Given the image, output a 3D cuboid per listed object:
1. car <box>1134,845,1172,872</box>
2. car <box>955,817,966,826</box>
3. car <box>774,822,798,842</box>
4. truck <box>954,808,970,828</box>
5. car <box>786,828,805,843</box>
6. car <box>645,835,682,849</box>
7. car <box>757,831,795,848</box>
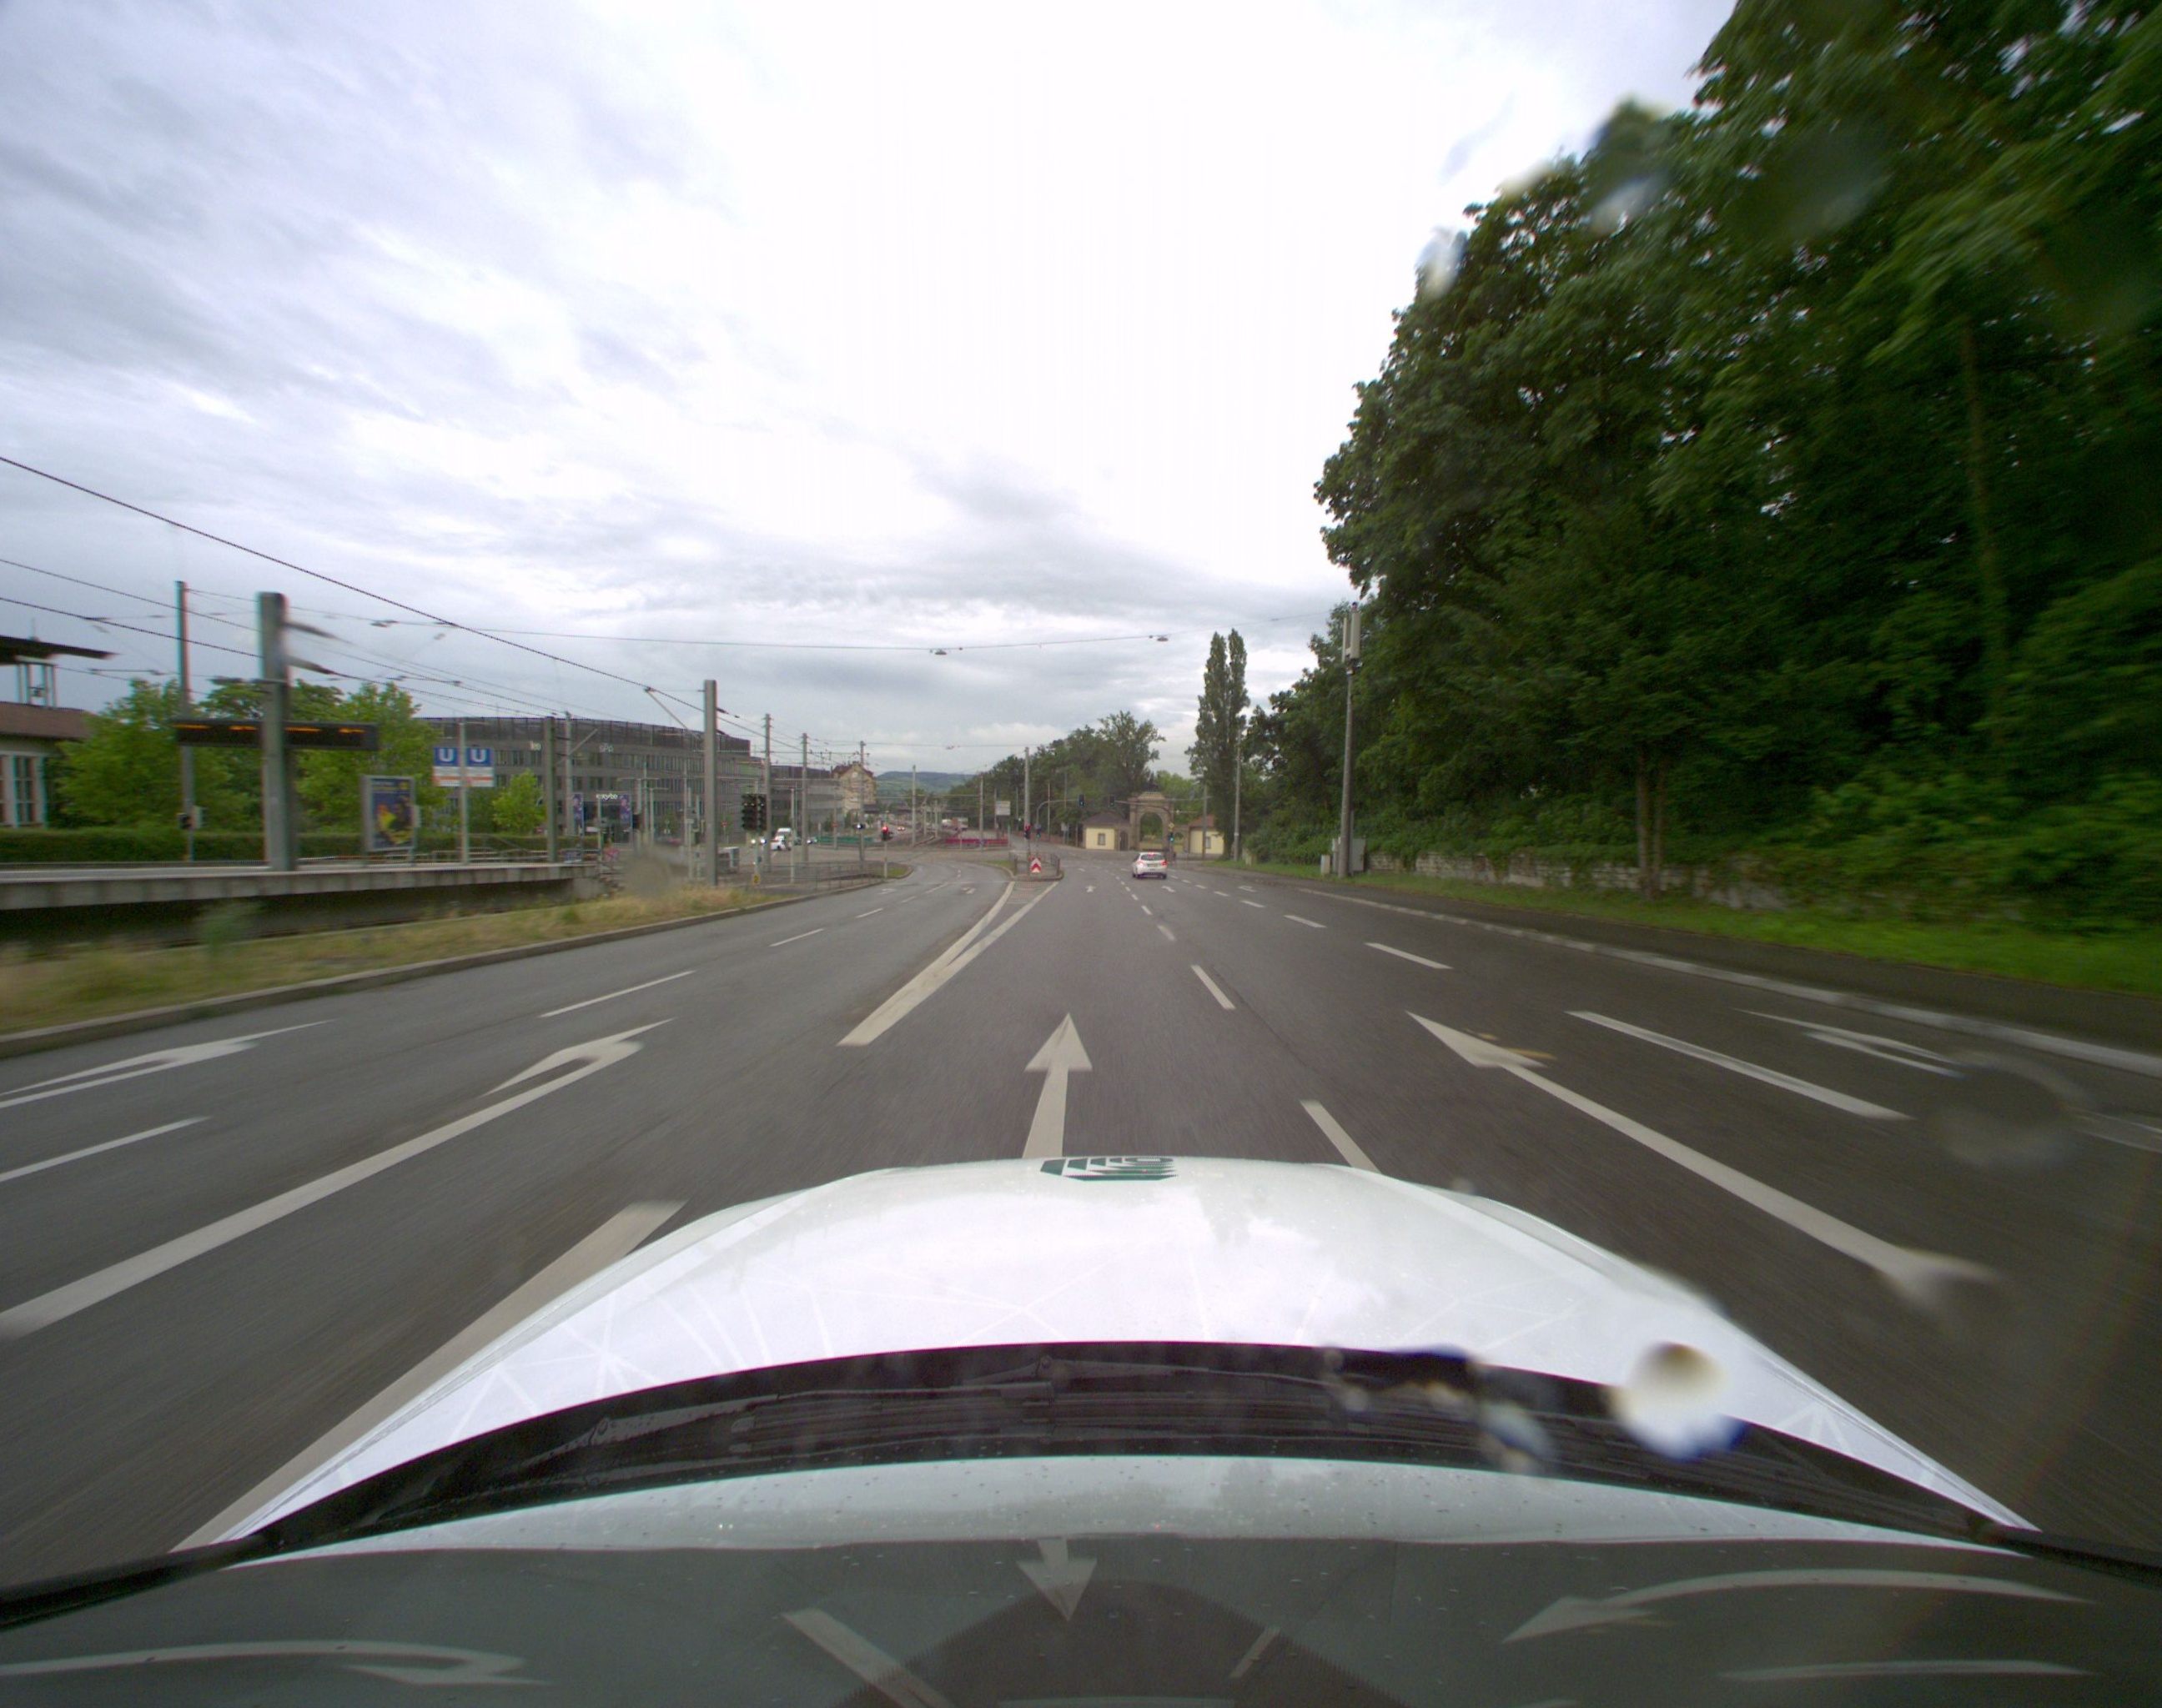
[{"bbox_3d":[4.066,0.250,46.392,1.948,1.488,4.002,0,0,2],"label":"car"},{"bbox_3d":[-27.951,-7.489,188.159,1.998,1.872,3.979,-1,2,-16],"label":"car"},{"bbox_3d":[-43.842,-3.218,120.996,1.992,2.831,5.704,-2,2,-7],"label":"car"},{"bbox_3d":[-36.298,-10.873,248.749,3.470,5.400,11.991,-1,0,-15],"label":"truck"},{"bbox_3d":[-46.083,-3.001,131.408,1.992,2.153,4.236,-1,-1,-7],"label":"car"},{"bbox_3d":[-53.869,-1.526,105.077,3.956,1.816,2.009,0,-1,16],"label":"car"},{"bbox_3d":[-37.052,-1.742,98.942,3.956,2.014,2.009,0,-1,16],"label":"car"}]
